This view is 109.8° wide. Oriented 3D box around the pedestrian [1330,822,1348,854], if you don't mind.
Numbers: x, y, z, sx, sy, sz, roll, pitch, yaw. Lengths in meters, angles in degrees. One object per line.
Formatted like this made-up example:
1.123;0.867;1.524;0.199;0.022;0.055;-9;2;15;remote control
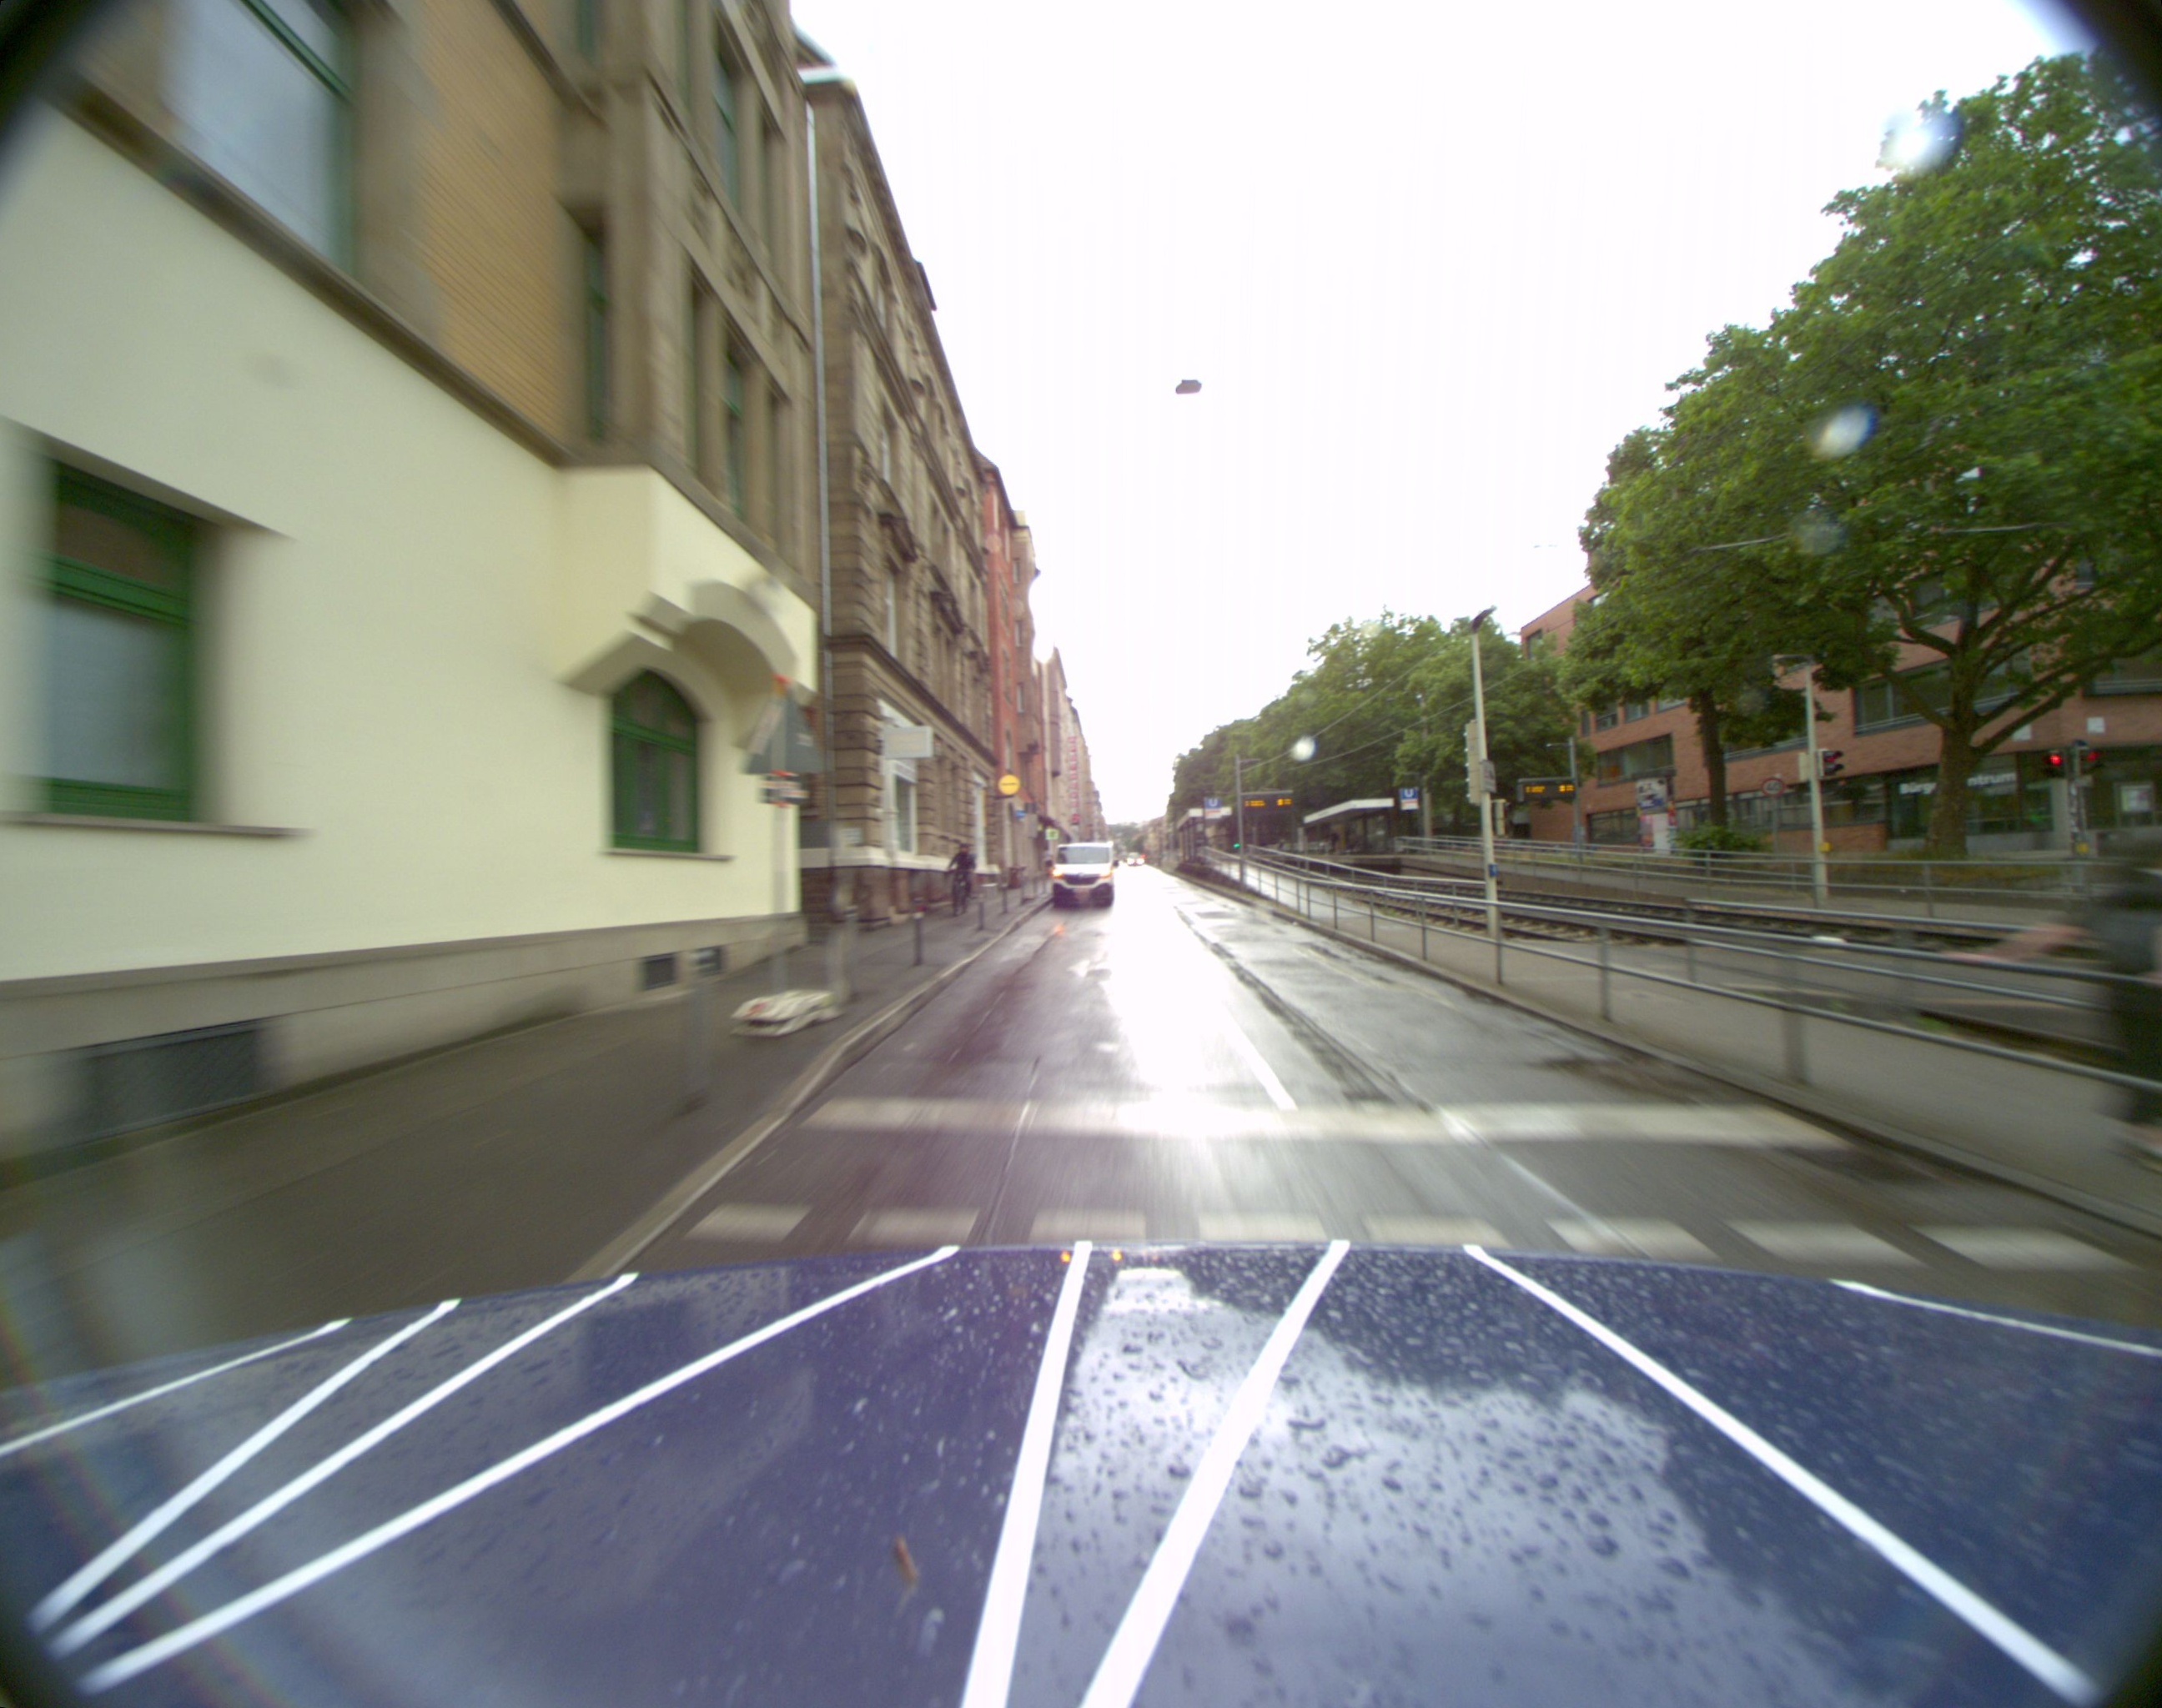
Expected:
16.998;-1.028;50.124;0.837;2.050;0.884;-1;1;-1;pedestrian

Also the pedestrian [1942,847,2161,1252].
4.725;0.775;3.306;0.836;1.595;1.002;-1;1;5;pedestrian

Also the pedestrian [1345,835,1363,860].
16.731;-0.410;46.539;0.781;1.474;0.884;-1;1;-1;pedestrian

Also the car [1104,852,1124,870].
3.517;0.770;82.136;1.884;1.838;3.999;-2;0;0;car

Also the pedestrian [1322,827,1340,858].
16.913;-0.781;51.413;0.837;2.050;0.884;-1;1;-1;pedestrian

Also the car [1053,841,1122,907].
0.356;0.565;25.531;1.824;1.893;5.992;-2;0;5;car

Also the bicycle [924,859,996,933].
-2.798;0.925;18.029;0.936;1.545;3.136;-2;0;4;bicycle

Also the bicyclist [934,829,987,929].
-2.812;0.565;17.909;0.920;2.250;1.288;-1;1;4;bicyclist

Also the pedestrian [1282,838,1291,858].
18.197;-0.526;67.274;0.676;1.780;0.703;0;1;3;pedestrian

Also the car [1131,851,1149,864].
6.754;0.381;87.707;1.883;1.438;4.000;-1;0;2;car
